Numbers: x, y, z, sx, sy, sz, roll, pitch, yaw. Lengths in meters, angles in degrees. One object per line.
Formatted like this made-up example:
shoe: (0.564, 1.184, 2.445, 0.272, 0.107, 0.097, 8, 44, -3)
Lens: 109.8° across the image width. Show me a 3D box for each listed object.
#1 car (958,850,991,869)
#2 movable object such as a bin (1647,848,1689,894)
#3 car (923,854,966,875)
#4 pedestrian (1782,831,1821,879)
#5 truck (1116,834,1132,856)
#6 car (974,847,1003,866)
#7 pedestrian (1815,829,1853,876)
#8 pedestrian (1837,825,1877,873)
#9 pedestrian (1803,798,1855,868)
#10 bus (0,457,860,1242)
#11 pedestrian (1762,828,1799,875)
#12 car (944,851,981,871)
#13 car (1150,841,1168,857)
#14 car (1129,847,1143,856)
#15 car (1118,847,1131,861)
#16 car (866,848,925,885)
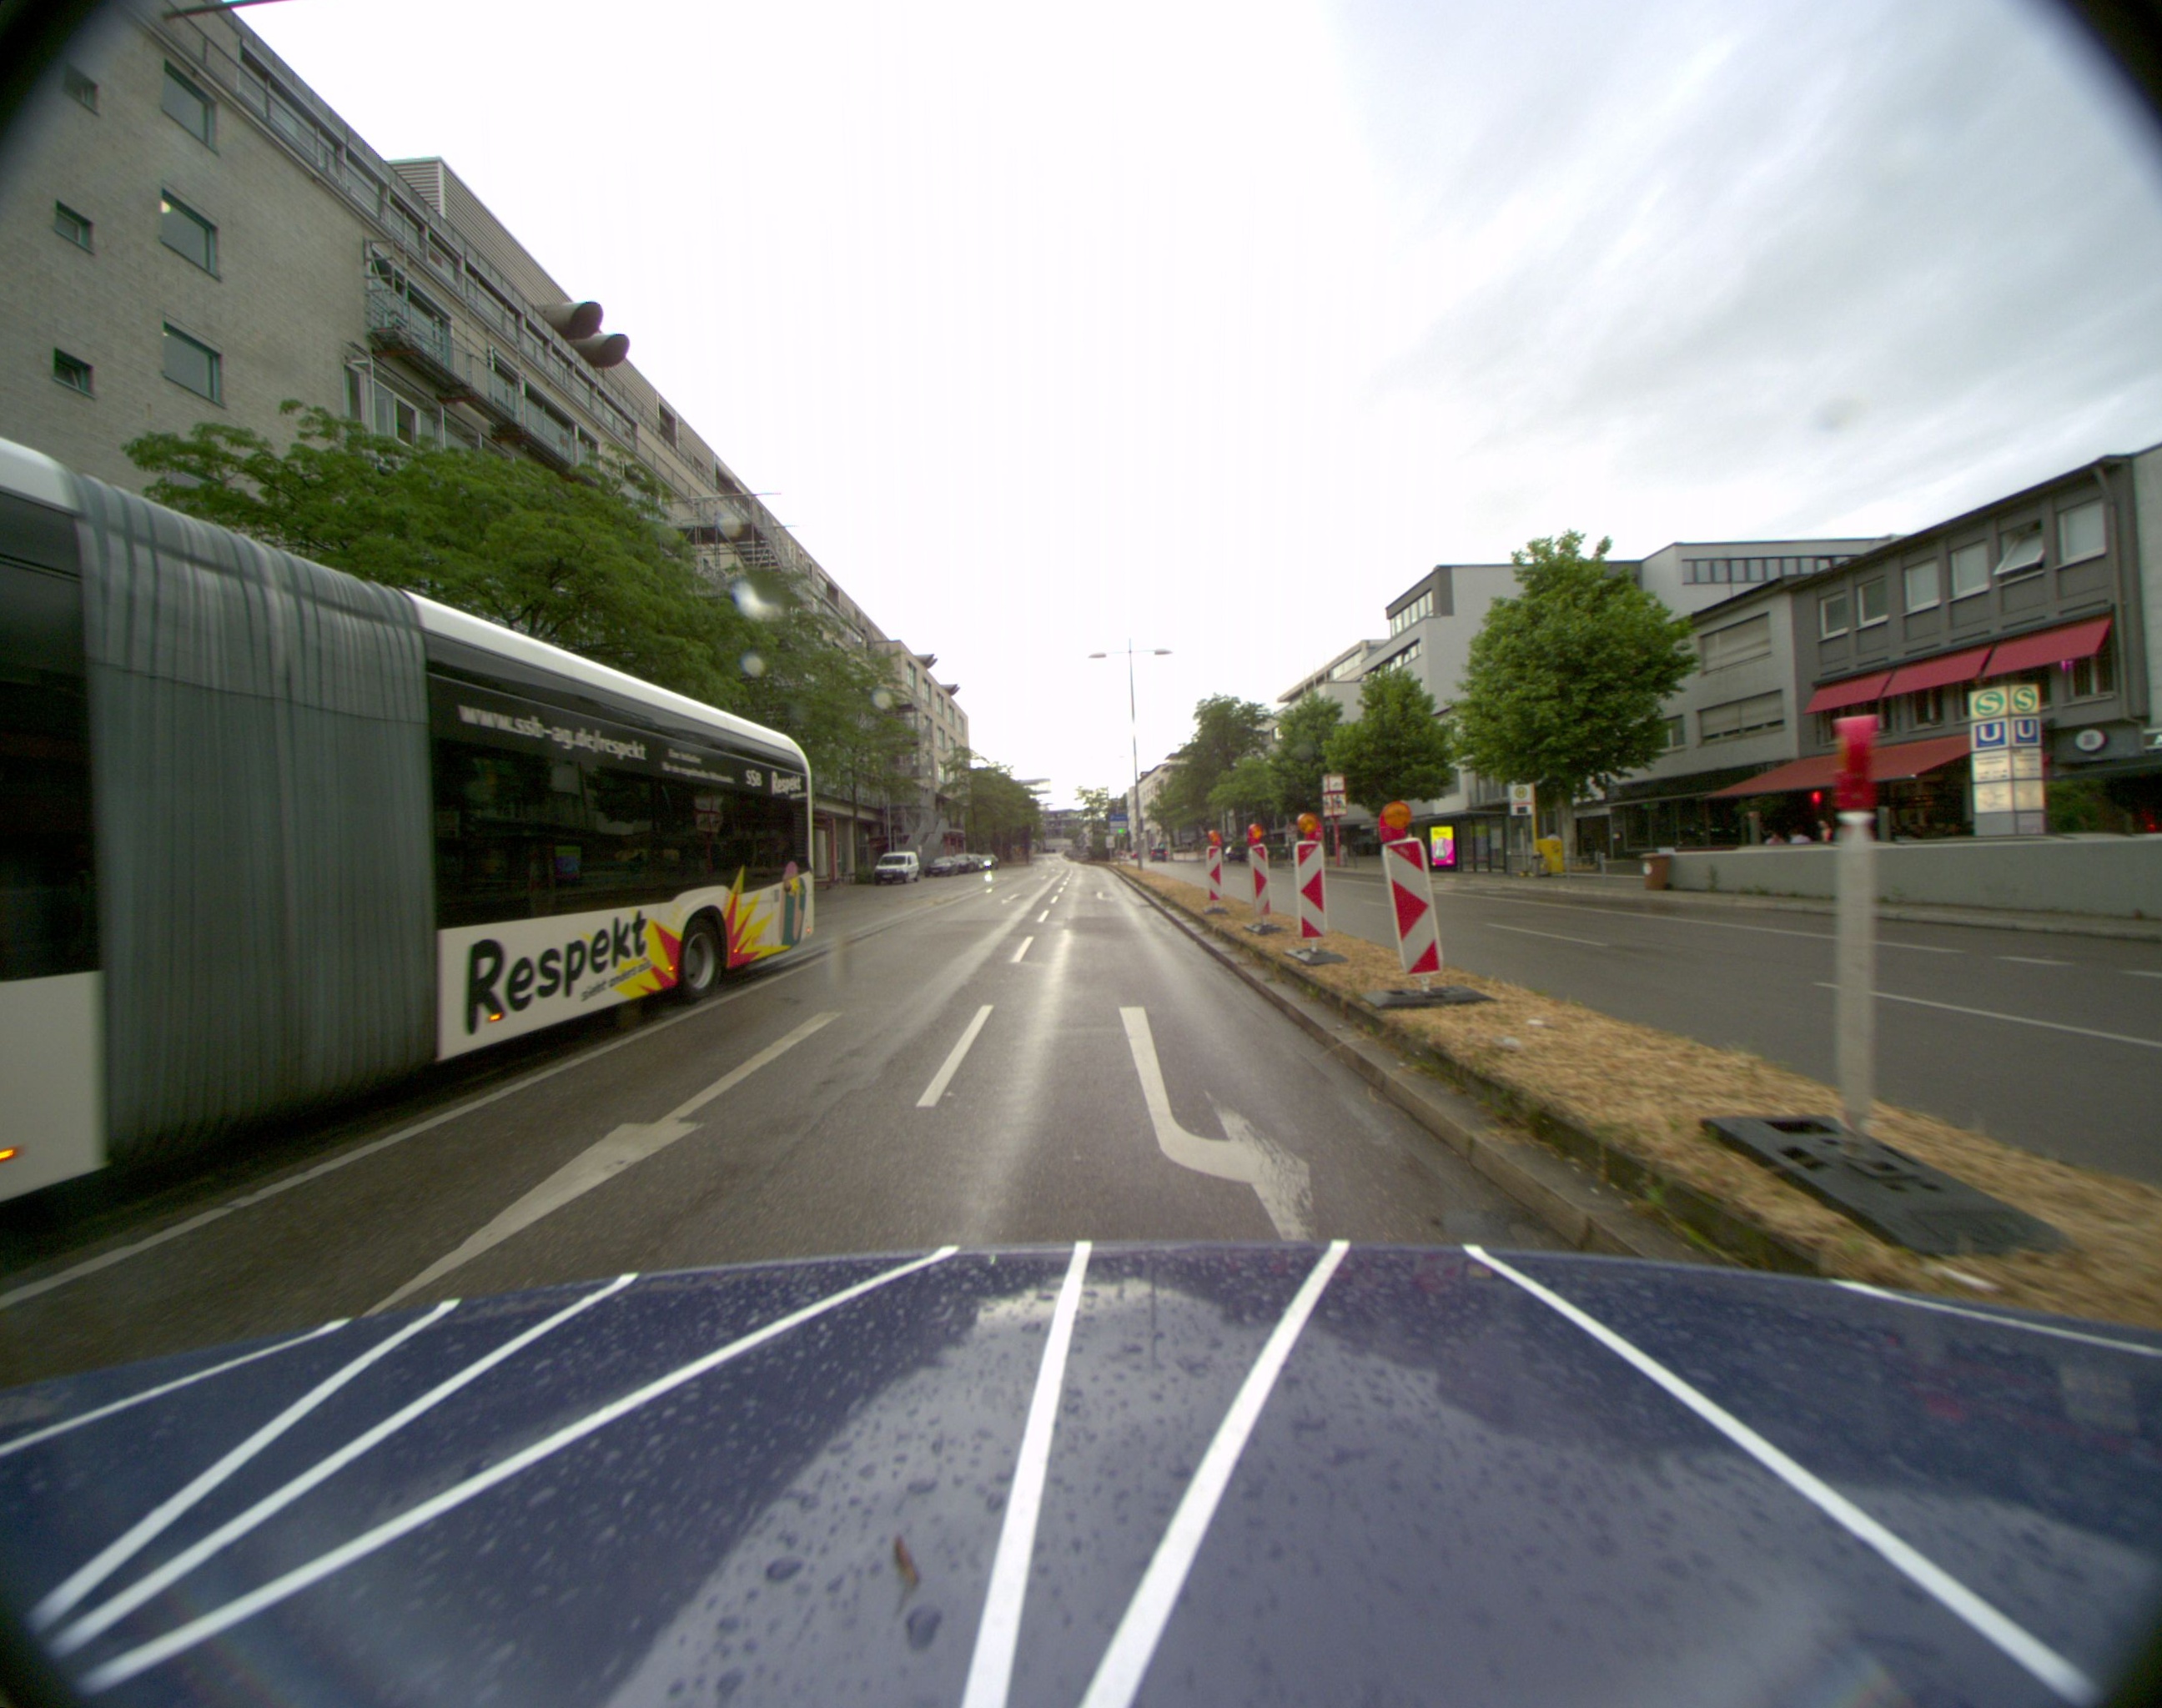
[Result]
car: (-9.436, 0.454, 67.410, 2.147, 1.552, 4.816, -2, 1, 1)
movable object such as a bin: (14.579, 0.415, 18.885, 0.507, 1.094, 0.660, -2, 1, -2)
car: (-9.864, 0.731, 55.146, 2.147, 1.329, 4.816, -2, 1, 1)
pedestrian: (23.192, 0.027, 24.459, 0.669, 1.520, 0.611, -2, 1, 3)
truck: (7.148, -1.469, 127.815, 1.999, 3.557, 7.571, -2, 1, -2)
car: (-8.868, 0.255, 73.142, 2.147, 1.637, 4.816, -2, 1, 1)
pedestrian: (25.006, -0.048, 25.242, 0.669, 1.520, 0.611, -2, 1, 4)
pedestrian: (25.009, -0.165, 24.501, 0.669, 1.520, 0.611, -2, 1, 3)
pedestrian: (20.203, -0.562, 20.534, 0.611, 1.813, 0.791, -2, 2, -9)
bus: (-5.389, -0.045, 8.203, 2.890, 3.420, 9.709, -2, 1, 1)
pedestrian: (23.359, -0.093, 25.391, 0.669, 1.520, 0.611, -2, 1, 3)
car: (-9.597, 0.534, 61.941, 2.147, 1.486, 4.816, -2, 1, 1)
car: (10.116, -0.724, 98.767, 1.998, 1.916, 4.963, 0, 2, 1)
car: (10.165, -0.473, 140.400, 1.693, 1.501, 4.288, -2, 0, -8)
car: (7.062, -0.025, 123.121, 1.998, 2.002, 3.999, -2, 1, 2)
car: (-10.503, 0.664, 43.380, 2.213, 1.895, 4.329, -2, 1, 1)
